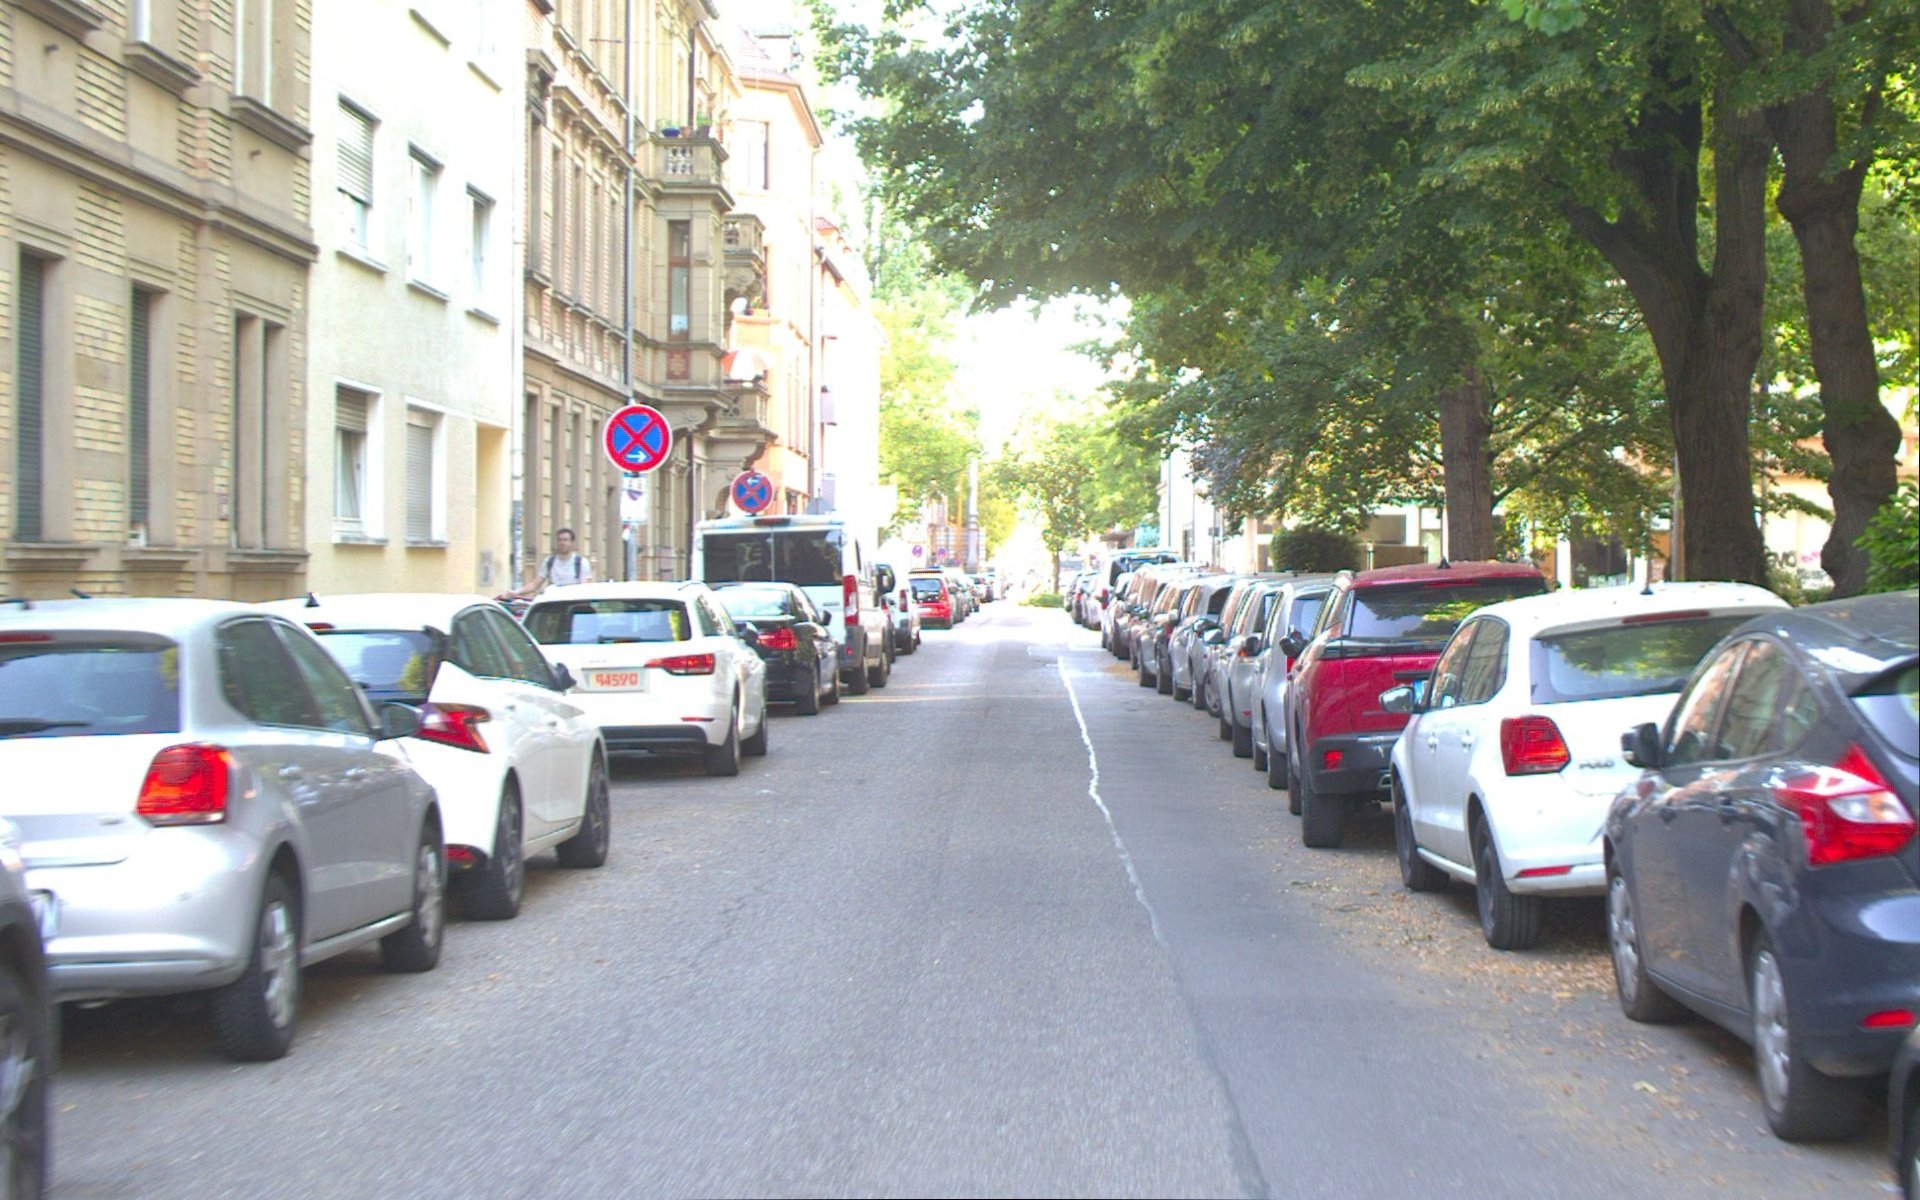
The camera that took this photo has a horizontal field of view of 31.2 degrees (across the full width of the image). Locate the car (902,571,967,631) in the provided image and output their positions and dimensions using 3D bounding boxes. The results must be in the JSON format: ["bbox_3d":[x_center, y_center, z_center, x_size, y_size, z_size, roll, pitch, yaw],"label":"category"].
[{"bbox_3d":[-0.781,0.019,108.816,1.743,1.805,4.671,-2,0,3],"label":"car"}]

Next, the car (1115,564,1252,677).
[{"bbox_3d":[3.520,0.345,54.724,1.618,1.619,3.864,-5,-1,-3],"label":"car"}]

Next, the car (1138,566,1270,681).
[{"bbox_3d":[3.519,0.348,50.093,1.619,1.481,3.776,-5,-1,1],"label":"car"}]

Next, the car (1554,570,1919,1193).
[{"bbox_3d":[2.997,0.672,10.591,1.664,1.515,4.060,-5,-1,2],"label":"car"}]

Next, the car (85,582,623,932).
[{"bbox_3d":[-2.733,0.674,16.336,1.709,1.412,3.803,-2,-1,2],"label":"car"}]

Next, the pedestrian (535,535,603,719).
[{"bbox_3d":[-3.924,0.264,34.577,0.488,1.797,1.115,2,0,0],"label":"pedestrian"}]

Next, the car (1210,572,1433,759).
[{"bbox_3d":[3.093,0.552,29.992,1.599,1.465,3.869,-2,-1,2],"label":"car"}]

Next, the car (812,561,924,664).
[{"bbox_3d":[-1.695,0.214,64.484,1.831,1.805,4.572,-2,0,1],"label":"car"}]

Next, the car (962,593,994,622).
[{"bbox_3d":[0.965,0.387,187.294,1.676,1.482,4.094,-2,0,1],"label":"car"}]

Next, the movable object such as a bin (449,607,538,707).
[{"bbox_3d":[-5.123,0.630,37.781,0.836,1.084,0.675,0,-1,5],"label":"movable object such as a bin"}]

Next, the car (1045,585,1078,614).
[{"bbox_3d":[5.419,-0.014,183.517,1.676,1.482,3.638,-2,0,1],"label":"car"}]

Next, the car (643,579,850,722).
[{"bbox_3d":[-2.247,0.507,37.234,1.731,1.397,4.315,-2,0,3],"label":"car"}]

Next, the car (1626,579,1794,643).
[{"bbox_3d":[18.189,0.268,83.470,3.856,1.468,1.632,1,-2,8],"label":"car"}]

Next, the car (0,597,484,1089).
[{"bbox_3d":[-2.864,0.741,11.961,1.709,1.412,3.803,-2,-1,2],"label":"car"}]

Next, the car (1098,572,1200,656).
[{"bbox_3d":[3.577,0.256,65.623,1.719,1.565,3.828,0,0,0],"label":"car"}]

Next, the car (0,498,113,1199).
[{"bbox_3d":[-2.852,0.646,5.579,1.709,1.668,4.277,-2,-1,2],"label":"car"}]

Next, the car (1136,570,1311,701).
[{"bbox_3d":[3.279,0.456,43.563,1.675,1.436,4.695,-5,-1,-1],"label":"car"}]

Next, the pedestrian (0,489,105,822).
[{"bbox_3d":[-5.517,0.319,20.266,0.766,1.922,0.763,0,0,-2],"label":"pedestrian"}]

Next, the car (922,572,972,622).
[{"bbox_3d":[-0.476,-0.130,127.978,1.765,1.779,4.039,-2,0,1],"label":"car"}]

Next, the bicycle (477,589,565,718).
[{"bbox_3d":[-4.414,0.522,34.667,0.570,1.239,1.844,3,0,0],"label":"bicycle"}]

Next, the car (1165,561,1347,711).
[{"bbox_3d":[3.311,0.411,39.011,1.599,1.500,3.628,-5,-1,-1],"label":"car"}]

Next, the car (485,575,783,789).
[{"bbox_3d":[-2.411,0.569,26.474,1.731,1.451,4.521,-2,0,1],"label":"car"}]

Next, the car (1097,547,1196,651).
[{"bbox_3d":[3.849,-0.031,70.816,1.914,1.992,4.791,-2,0,3],"label":"car"}]

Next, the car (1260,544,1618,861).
[{"bbox_3d":[2.756,0.566,20.572,1.664,1.581,4.100,-5,-1,3],"label":"car"}]

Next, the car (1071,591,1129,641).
[{"bbox_3d":[4.392,0.497,108.273,1.676,1.501,3.937,-2,0,1],"label":"car"}]

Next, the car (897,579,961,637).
[{"bbox_3d":[-0.819,0.210,93.698,1.628,1.476,3.601,-2,0,1],"label":"car"}]

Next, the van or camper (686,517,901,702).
[{"bbox_3d":[-2.039,0.109,43.637,2.177,2.140,5.153,-2,0,3],"label":"van or camper"}]

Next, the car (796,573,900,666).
[{"bbox_3d":[-1.927,0.324,59.678,1.692,1.509,3.973,-2,0,-2],"label":"car"}]

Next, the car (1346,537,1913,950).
[{"bbox_3d":[2.891,0.592,15.680,1.664,1.515,3.951,-5,-1,-1],"label":"car"}]

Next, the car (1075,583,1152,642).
[{"bbox_3d":[4.149,0.321,93.283,1.744,1.501,4.358,-2,0,-1],"label":"car"}]

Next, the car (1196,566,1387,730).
[{"bbox_3d":[3.337,0.482,35.089,1.599,1.463,3.563,-5,-1,2],"label":"car"}]

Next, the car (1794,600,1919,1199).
[{"bbox_3d":[2.492,0.688,4.839,1.621,1.431,4.003,-1,0,0],"label":"car"}]

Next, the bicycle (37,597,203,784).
[{"bbox_3d":[-5.499,0.571,22.602,0.570,1.144,1.844,3,0,0],"label":"bicycle"}]

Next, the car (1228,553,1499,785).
[{"bbox_3d":[2.962,0.499,25.883,1.599,1.500,3.720,-5,-1,2],"label":"car"}]

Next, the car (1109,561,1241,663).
[{"bbox_3d":[3.739,0.227,60.528,1.739,1.598,4.264,-5,-1,-3],"label":"car"}]
